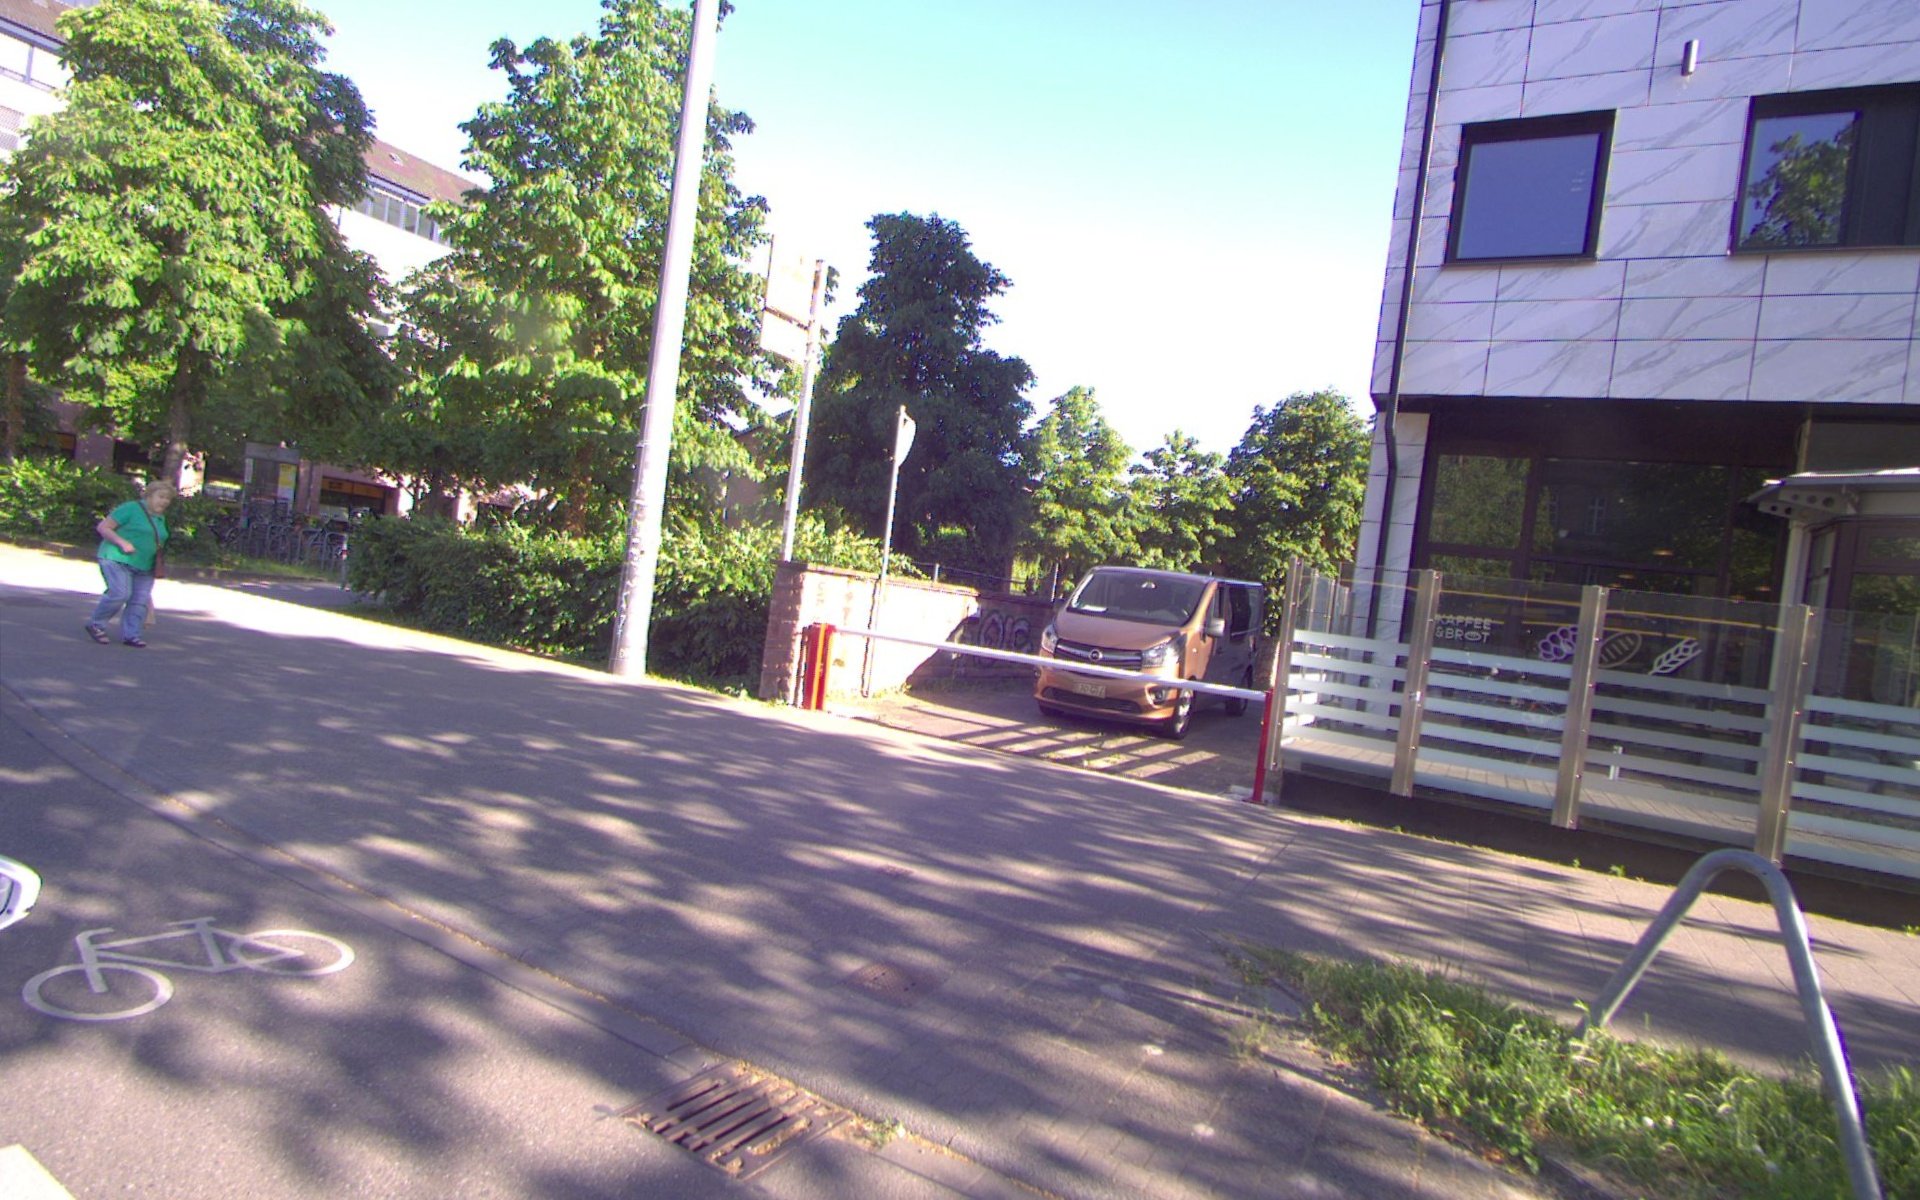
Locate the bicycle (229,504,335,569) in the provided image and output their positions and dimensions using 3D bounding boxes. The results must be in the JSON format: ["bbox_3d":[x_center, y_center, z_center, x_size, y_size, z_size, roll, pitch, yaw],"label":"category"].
[{"bbox_3d":[-16.345,-1.517,24.311,0.564,1.332,1.998,8,2,31],"label":"bicycle"}]

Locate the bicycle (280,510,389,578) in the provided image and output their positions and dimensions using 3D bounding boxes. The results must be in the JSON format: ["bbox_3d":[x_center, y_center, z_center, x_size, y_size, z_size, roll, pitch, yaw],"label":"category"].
[{"bbox_3d":[-14.352,-1.259,23.137,0.564,1.332,1.998,8,2,31],"label":"bicycle"}]

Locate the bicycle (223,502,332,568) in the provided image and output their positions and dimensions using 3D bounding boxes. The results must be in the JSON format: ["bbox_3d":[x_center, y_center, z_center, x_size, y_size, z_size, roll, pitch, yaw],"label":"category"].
[{"bbox_3d":[-16.007,-1.502,23.655,0.564,1.332,1.998,8,2,31],"label":"bicycle"}]

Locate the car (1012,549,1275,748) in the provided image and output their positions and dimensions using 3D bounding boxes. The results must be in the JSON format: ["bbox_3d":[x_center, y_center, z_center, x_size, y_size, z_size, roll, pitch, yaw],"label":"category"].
[{"bbox_3d":[2.691,0.559,13.555,1.880,2.011,4.901,7,3,28],"label":"car"}]

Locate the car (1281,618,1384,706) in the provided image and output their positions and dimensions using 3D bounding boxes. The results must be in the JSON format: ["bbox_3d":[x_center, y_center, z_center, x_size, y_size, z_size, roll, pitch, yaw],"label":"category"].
[{"bbox_3d":[8.692,1.428,23.311,1.567,1.692,3.616,7,1,28],"label":"car"}]

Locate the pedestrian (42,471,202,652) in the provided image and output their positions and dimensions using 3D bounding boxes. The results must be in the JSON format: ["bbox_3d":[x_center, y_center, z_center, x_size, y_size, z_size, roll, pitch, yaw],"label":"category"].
[{"bbox_3d":[-8.096,-0.359,9.754,0.817,1.596,0.738,6,1,-5],"label":"pedestrian"}]
